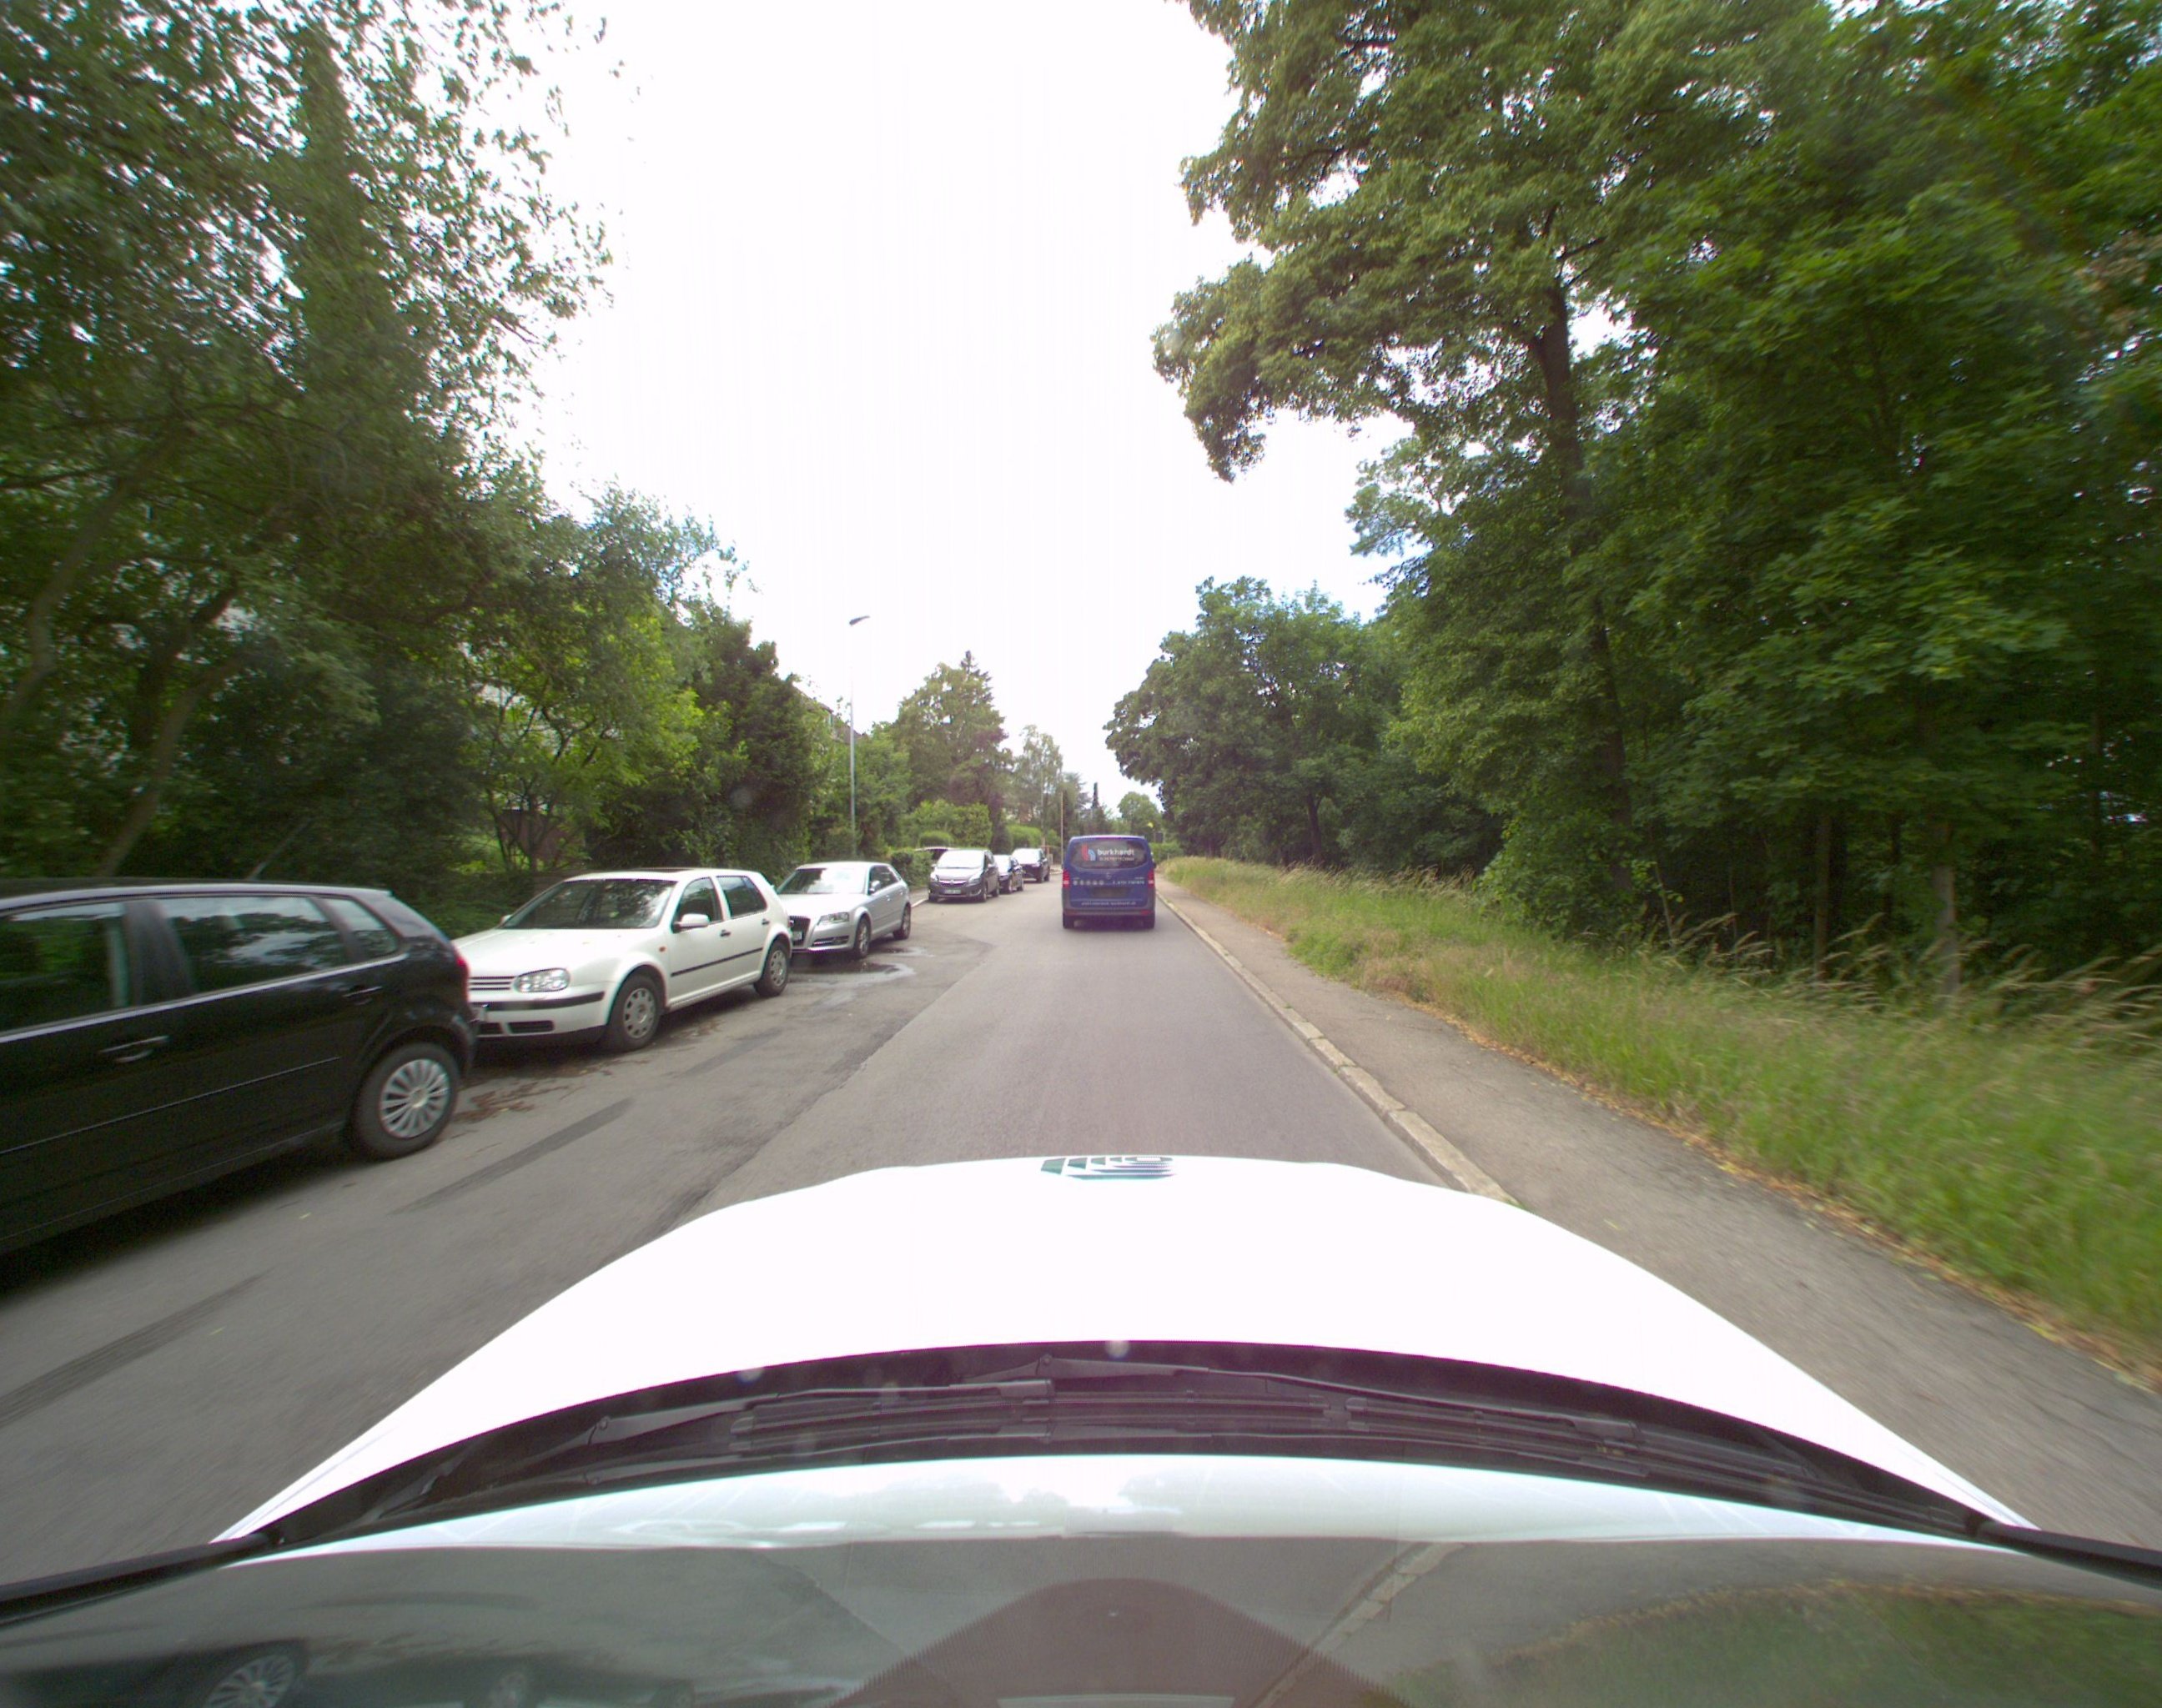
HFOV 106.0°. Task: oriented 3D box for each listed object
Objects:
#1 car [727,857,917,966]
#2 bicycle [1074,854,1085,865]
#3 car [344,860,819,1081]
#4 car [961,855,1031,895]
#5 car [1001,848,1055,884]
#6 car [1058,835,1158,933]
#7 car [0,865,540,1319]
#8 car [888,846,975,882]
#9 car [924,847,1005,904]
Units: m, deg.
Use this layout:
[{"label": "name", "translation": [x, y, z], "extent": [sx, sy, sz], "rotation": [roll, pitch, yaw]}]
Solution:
[{"label": "car", "translation": [-3.970, 0.798, 13.221], "extent": [1.617, 1.450, 4.095], "rotation": [-1, 0, 2]}, {"label": "bicycle", "translation": [-0.182, 0.617, 90.386], "extent": [0.901, 1.252, 2.920], "rotation": [2, 0, 6]}, {"label": "car", "translation": [-4.189, 0.829, 7.850], "extent": [1.652, 1.452, 4.385], "rotation": [-1, 0, 3]}, {"label": "car", "translation": [-3.157, 0.744, 31.300], "extent": [1.746, 1.412, 4.905], "rotation": [1, 0, 5]}, {"label": "car", "translation": [-2.644, 0.568, 42.021], "extent": [1.965, 1.737, 5.197], "rotation": [1, 0, 5]}, {"label": "car", "translation": [0.496, 0.546, 17.589], "extent": [1.883, 1.844, 3.999], "rotation": [-1, 1, -1]}, {"label": "car", "translation": [-4.330, 0.815, 3.129], "extent": [1.615, 1.450, 3.974], "rotation": [-1, 0, 4]}, {"label": "car", "translation": [-7.195, 0.476, 39.307], "extent": [3.664, 1.637, 1.836], "rotation": [1, 0, 15]}, {"label": "car", "translation": [-3.577, 0.622, 25.859], "extent": [1.724, 1.632, 4.571], "rotation": [1, 0, 2]}]
